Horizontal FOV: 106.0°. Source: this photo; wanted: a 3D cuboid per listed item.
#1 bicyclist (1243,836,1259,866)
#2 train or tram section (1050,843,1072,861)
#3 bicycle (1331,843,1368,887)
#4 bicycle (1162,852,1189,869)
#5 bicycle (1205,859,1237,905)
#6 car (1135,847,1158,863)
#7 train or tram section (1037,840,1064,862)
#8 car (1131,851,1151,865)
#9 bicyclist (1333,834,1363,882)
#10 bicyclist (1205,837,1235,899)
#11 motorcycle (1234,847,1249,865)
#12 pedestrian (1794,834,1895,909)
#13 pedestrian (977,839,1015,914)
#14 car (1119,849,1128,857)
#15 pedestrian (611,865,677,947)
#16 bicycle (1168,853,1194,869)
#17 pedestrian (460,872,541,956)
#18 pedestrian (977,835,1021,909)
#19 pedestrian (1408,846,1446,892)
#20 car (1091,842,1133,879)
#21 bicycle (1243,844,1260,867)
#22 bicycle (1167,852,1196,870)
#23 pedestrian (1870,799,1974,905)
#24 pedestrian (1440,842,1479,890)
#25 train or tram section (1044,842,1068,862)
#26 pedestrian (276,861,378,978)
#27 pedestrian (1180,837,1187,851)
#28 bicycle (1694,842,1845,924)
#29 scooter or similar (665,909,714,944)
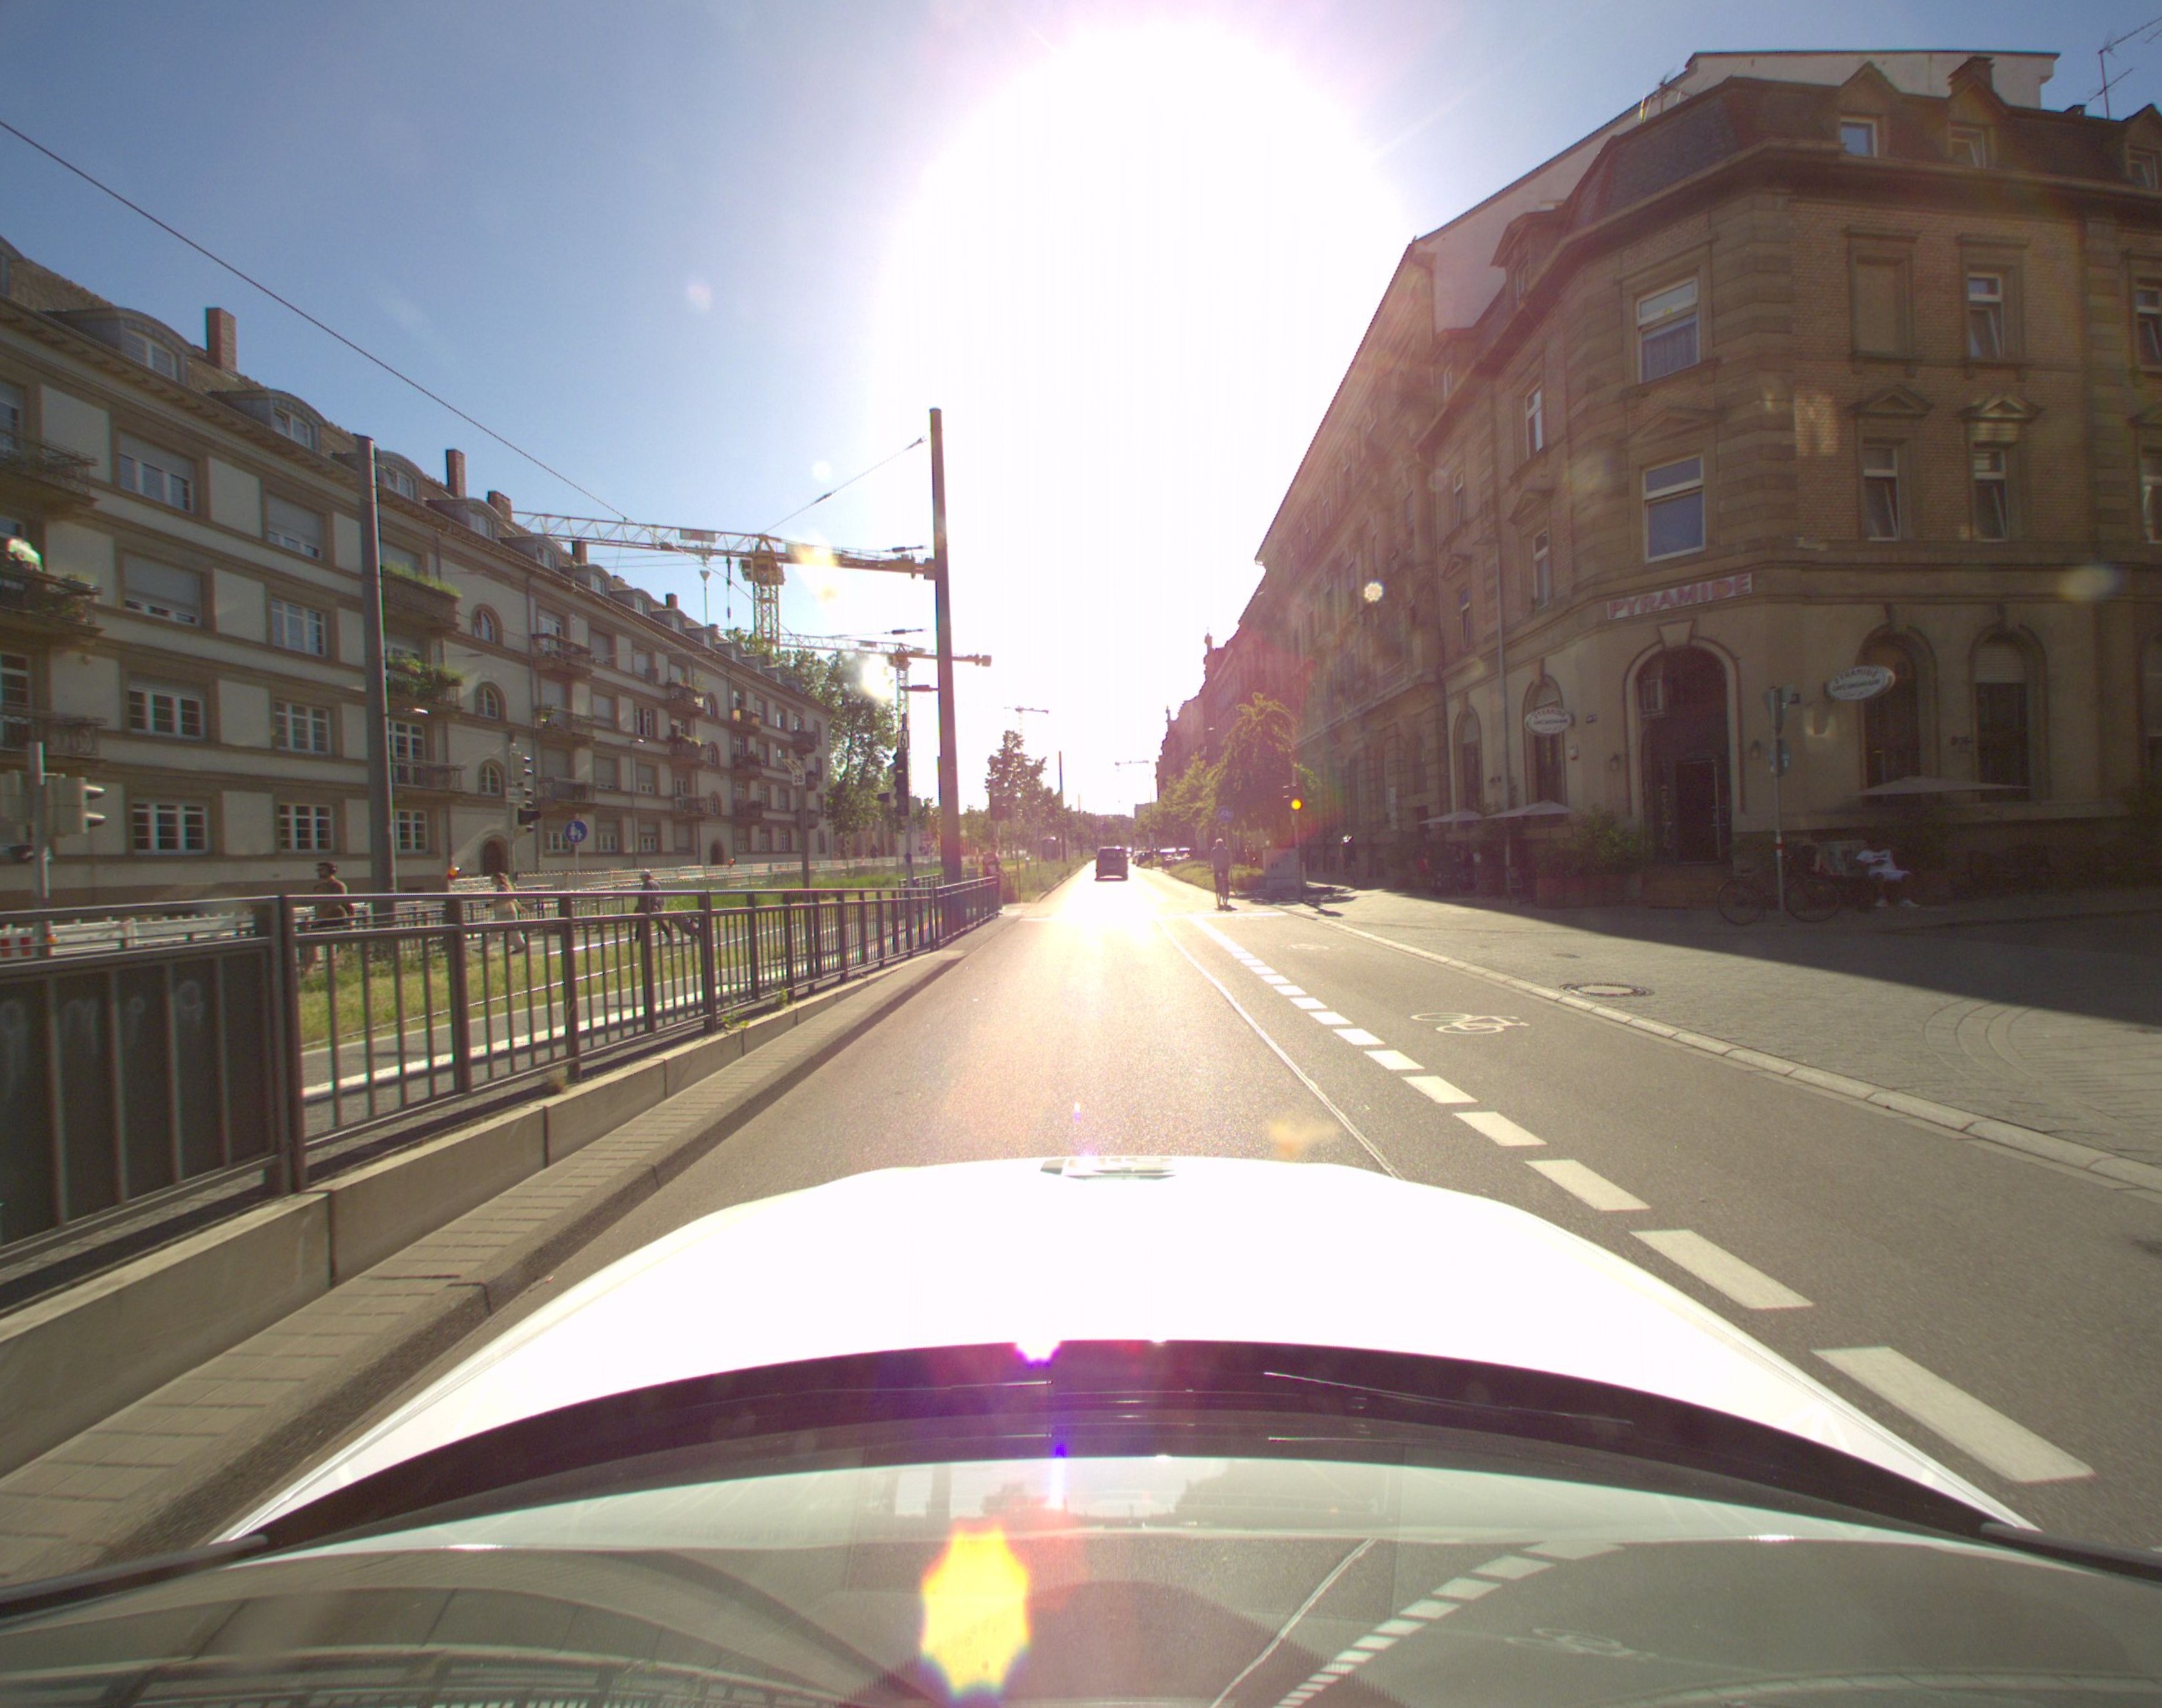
[{"bbox_3d":[9.701,-0.186,46.479,0.664,1.639,0.961,-2,0,1],"label":"bicyclist"},{"bbox_3d":[-3.131,-0.238,127.964,2.745,2.743,9.869,-1,0,2],"label":"train or tram section"},{"bbox_3d":[8.951,0.345,27.219,0.612,1.330,1.903,-6,0,6],"label":"bicycle"},{"bbox_3d":[6.860,0.491,59.224,1.786,1.030,0.527,-6,0,1],"label":"bicycle"},{"bbox_3d":[3.812,0.746,22.308,0.599,1.181,1.869,0,0,1],"label":"bicycle"},{"bbox_3d":[6.560,0.109,82.472,2.021,1.499,4.655,-3,0,1],"label":"car"},{"bbox_3d":[-3.954,-0.373,108.282,2.745,2.743,9.869,-1,0,2],"label":"train or tram section"},{"bbox_3d":[6.939,0.425,94.978,2.021,1.499,4.531,-3,0,1],"label":"car"},{"bbox_3d":[8.894,0.126,27.158,0.657,1.530,0.802,-6,0,5],"label":"bicyclist"},{"bbox_3d":[3.803,0.369,22.348,0.682,1.673,0.922,0,0,1],"label":"bicyclist"},{"bbox_3d":[11.692,0.145,59.351,0.697,1.267,1.982,-2,0,1],"label":"motorcycle"},{"bbox_3d":[13.058,0.286,13.959,0.848,1.214,0.932,-1,0,-6],"label":"pedestrian"},{"bbox_3d":[-2.086,0.535,20.098,0.863,1.788,0.969,-1,0,-5],"label":"pedestrian"},{"bbox_3d":[9.997,-0.140,189.740,1.986,1.838,4.001,-1,0,1],"label":"car"},{"bbox_3d":[-8.591,1.010,16.039,0.809,1.536,0.798,-1,0,3],"label":"pedestrian"},{"bbox_3d":[7.106,0.501,57.779,1.786,1.030,0.527,-2,0,1],"label":"bicycle"},{"bbox_3d":[-11.112,1.126,15.622,0.862,1.536,0.909,-1,0,1],"label":"pedestrian"},{"bbox_3d":[-2.197,0.484,21.917,1.073,1.908,0.652,-2,0,-5],"label":"pedestrian"},{"bbox_3d":[9.378,0.394,22.113,0.703,1.178,0.635,-4,0,1],"label":"pedestrian"},{"bbox_3d":[1.738,0.335,46.356,2.192,1.926,4.655,-3,0,1],"label":"car"},{"bbox_3d":[9.710,0.071,46.525,0.581,1.222,1.900,-2,0,2],"label":"bicycle"},{"bbox_3d":[6.733,0.461,54.745,1.786,1.030,0.527,-6,0,1],"label":"bicycle"},{"bbox_3d":[14.650,-0.039,14.208,0.905,1.760,0.866,-1,0,-6],"label":"pedestrian"},{"bbox_3d":[10.267,0.314,22.108,0.703,1.236,0.635,-4,0,1],"label":"pedestrian"},{"bbox_3d":[-3.537,-0.306,118.126,2.745,2.743,9.869,-1,0,2],"label":"train or tram section"},{"bbox_3d":[-12.028,1.010,13.002,0.898,1.780,0.873,-1,0,24],"label":"pedestrian"},{"bbox_3d":[11.495,-1.137,91.330,0.611,1.611,0.669,-2,0,1],"label":"pedestrian"},{"bbox_3d":[10.952,0.451,12.999,1.809,1.171,0.655,-2,3,5],"label":"bicycle"},{"bbox_3d":[-7.801,1.442,16.257,0.704,0.651,0.516,-1,0,3],"label":"scooter or similar"}]
